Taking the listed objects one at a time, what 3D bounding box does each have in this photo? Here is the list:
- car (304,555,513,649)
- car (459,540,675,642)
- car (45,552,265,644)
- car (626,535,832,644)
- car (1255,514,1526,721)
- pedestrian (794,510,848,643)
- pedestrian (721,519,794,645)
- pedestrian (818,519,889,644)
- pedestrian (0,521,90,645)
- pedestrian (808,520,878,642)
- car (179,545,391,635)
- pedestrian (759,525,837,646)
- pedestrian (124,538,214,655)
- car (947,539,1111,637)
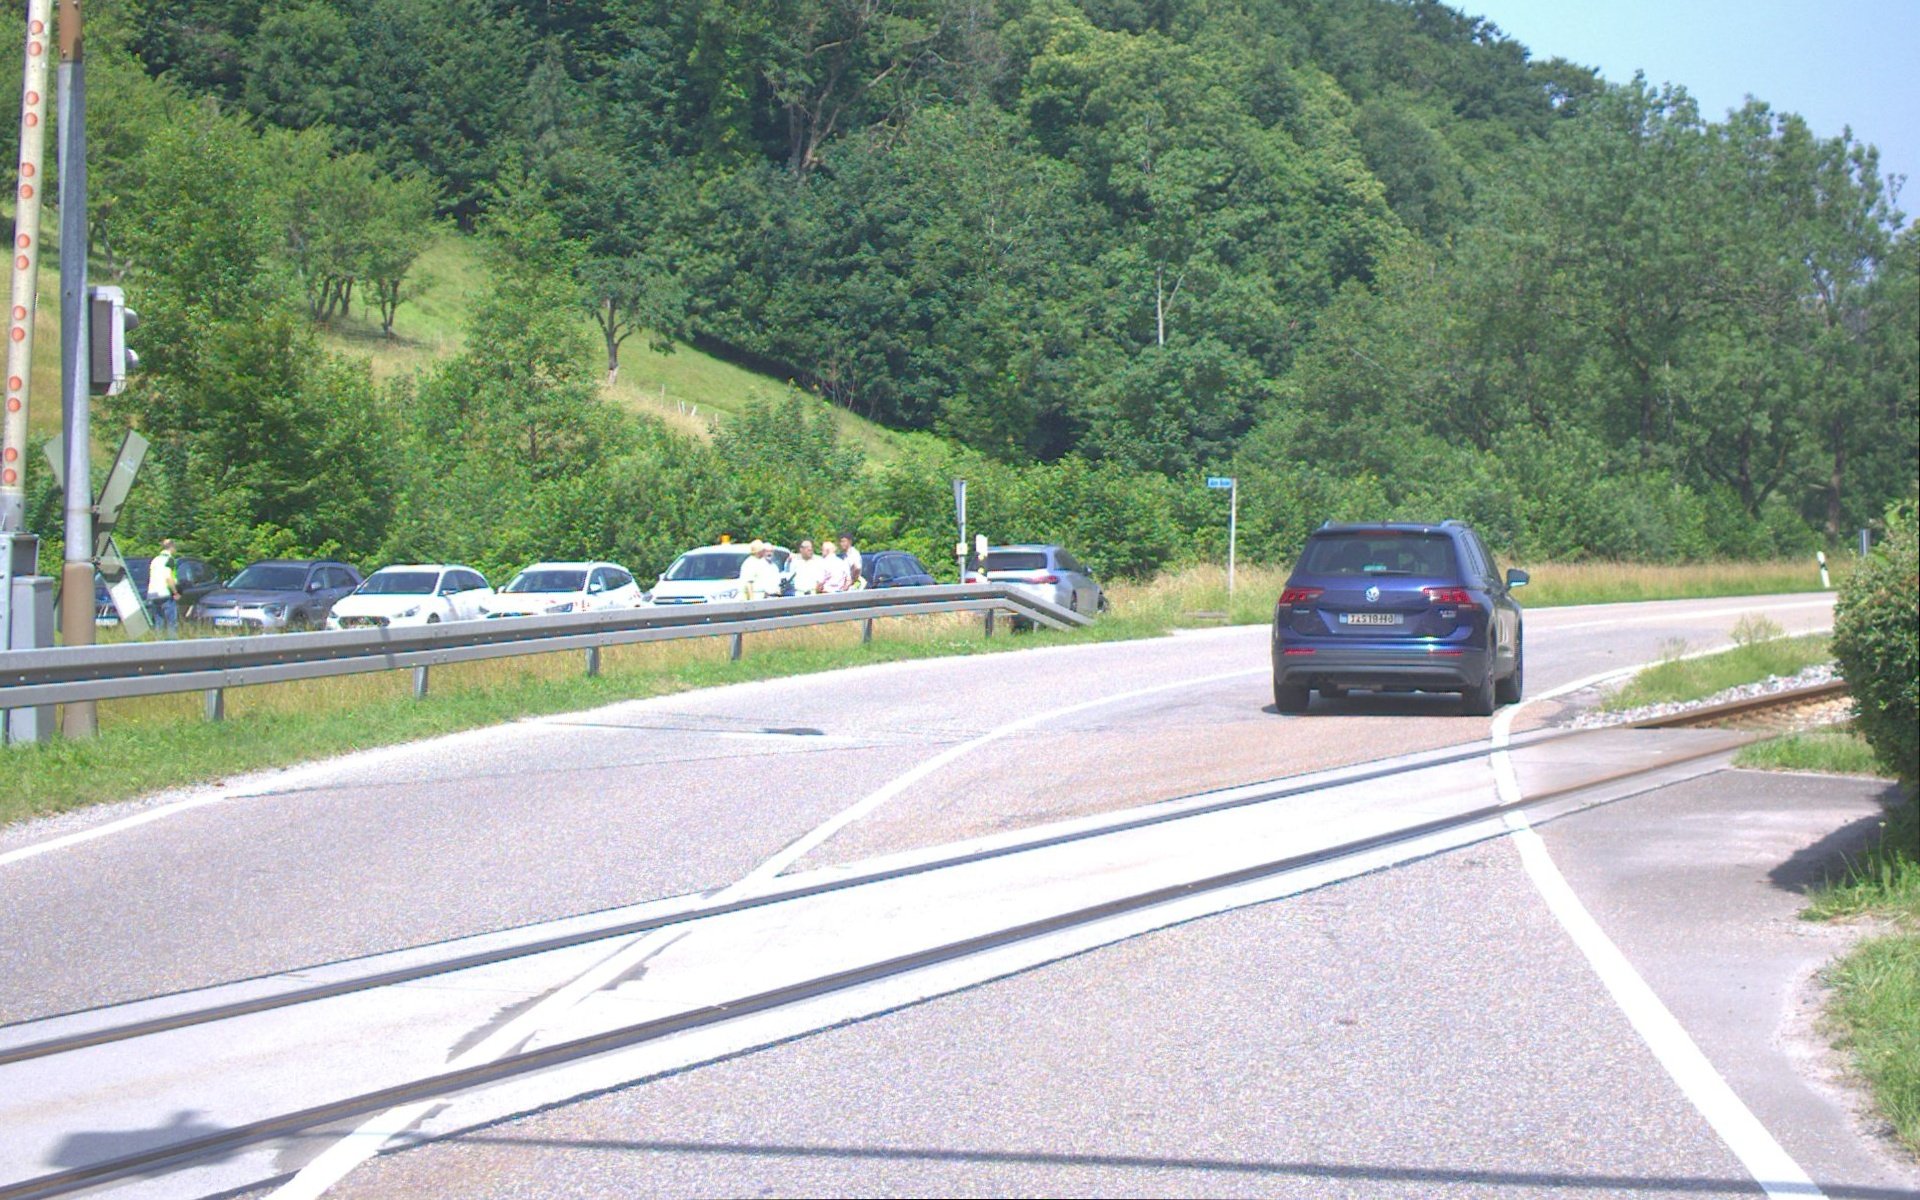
[{"bbox_3d":[-9.490,0.007,59.495,1.994,1.495,4.519,-2,1,13],"label":"car"},{"bbox_3d":[-6.706,-0.189,59.244,1.995,1.636,4.898,-2,1,15],"label":"car"},{"bbox_3d":[-14.209,-0.063,60.951,1.994,1.495,4.519,-2,1,13],"label":"car"},{"bbox_3d":[-3.896,-0.208,58.850,1.872,1.776,4.768,0,1,18],"label":"car"},{"bbox_3d":[3.779,0.099,29.604,1.854,1.643,4.137,1,1,14],"label":"car"},{"bbox_3d":[-2.071,-0.354,51.195,0.660,1.948,0.533,-2,1,5],"label":"pedestrian"},{"bbox_3d":[-3.005,-0.272,51.129,0.789,1.836,0.697,-1,1,26],"label":"pedestrian"},{"bbox_3d":[-1.603,-0.277,51.642,0.769,1.852,0.649,-2,0,-41],"label":"pedestrian"},{"bbox_3d":[-14.870,-0.275,55.781,1.128,1.962,0.860,-2,0,30],"label":"pedestrian"},{"bbox_3d":[-1.782,-0.292,52.417,0.769,1.834,0.649,-2,0,-42],"label":"pedestrian"},{"bbox_3d":[-11.794,-0.206,60.392,1.995,1.495,4.519,1,1,13],"label":"car"},{"bbox_3d":[-2.446,-0.219,51.907,0.770,1.790,0.792,-2,0,42],"label":"pedestrian"},{"bbox_3d":[-12.405,-0.060,53.916,0.954,1.788,0.999,-2,1,15],"label":"pedestrian"},{"bbox_3d":[1.170,-0.216,56.265,1.827,1.495,4.275,-2,1,13],"label":"car"}]
